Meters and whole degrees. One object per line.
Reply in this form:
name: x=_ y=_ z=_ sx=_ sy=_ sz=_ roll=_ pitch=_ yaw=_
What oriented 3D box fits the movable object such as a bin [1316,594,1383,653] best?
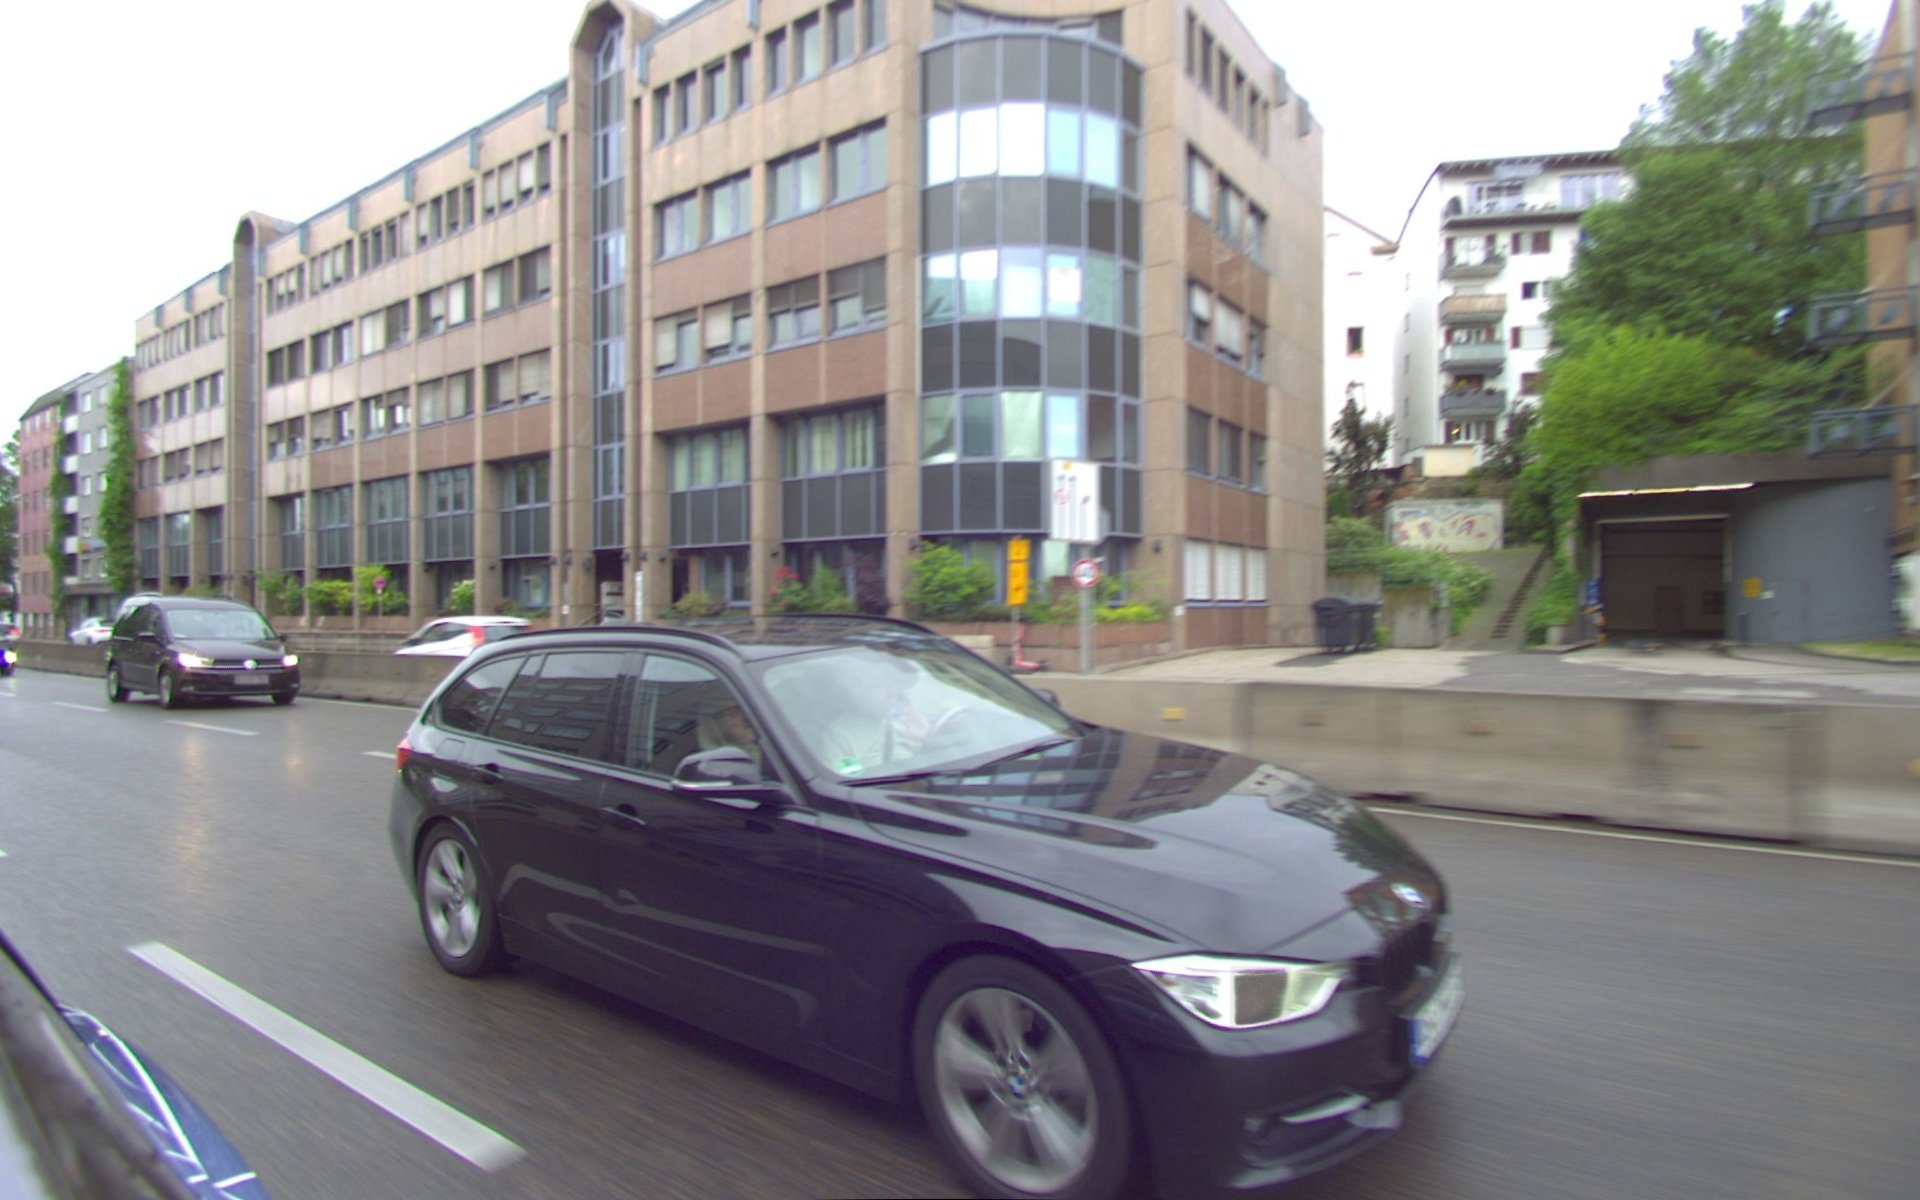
movable object such as a bin: x=10.301 y=0.620 z=26.782 sx=1.348 sy=1.491 sz=1.231 roll=-2 pitch=-1 yaw=38

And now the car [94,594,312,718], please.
car: x=-12.603 y=0.853 z=16.764 sx=4.243 sy=1.814 sz=1.778 roll=-1 pitch=-1 yaw=37

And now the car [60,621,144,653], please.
car: x=-36.716 y=1.561 z=43.270 sx=4.542 sy=1.279 sz=1.827 roll=-1 pitch=-1 yaw=38

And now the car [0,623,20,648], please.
car: x=-53.333 y=1.976 z=55.686 sx=3.690 sy=1.329 sz=1.704 roll=-1 pitch=-1 yaw=36

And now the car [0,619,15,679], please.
car: x=-27.195 y=1.328 z=27.283 sx=4.348 sy=1.545 sz=1.752 roll=-1 pitch=-1 yaw=37

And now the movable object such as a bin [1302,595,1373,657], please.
movable object such as a bin: x=9.426 y=0.633 z=25.271 sx=1.348 sy=1.491 sz=1.231 roll=-2 pitch=-1 yaw=37

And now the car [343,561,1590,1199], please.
car: x=-0.444 y=0.707 z=3.845 sx=4.650 sy=1.454 sz=1.751 roll=-1 pitch=-1 yaw=38

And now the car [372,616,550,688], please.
car: x=-9.725 y=0.967 z=19.630 sx=3.720 sy=1.240 sz=1.598 roll=-1 pitch=-1 yaw=37
